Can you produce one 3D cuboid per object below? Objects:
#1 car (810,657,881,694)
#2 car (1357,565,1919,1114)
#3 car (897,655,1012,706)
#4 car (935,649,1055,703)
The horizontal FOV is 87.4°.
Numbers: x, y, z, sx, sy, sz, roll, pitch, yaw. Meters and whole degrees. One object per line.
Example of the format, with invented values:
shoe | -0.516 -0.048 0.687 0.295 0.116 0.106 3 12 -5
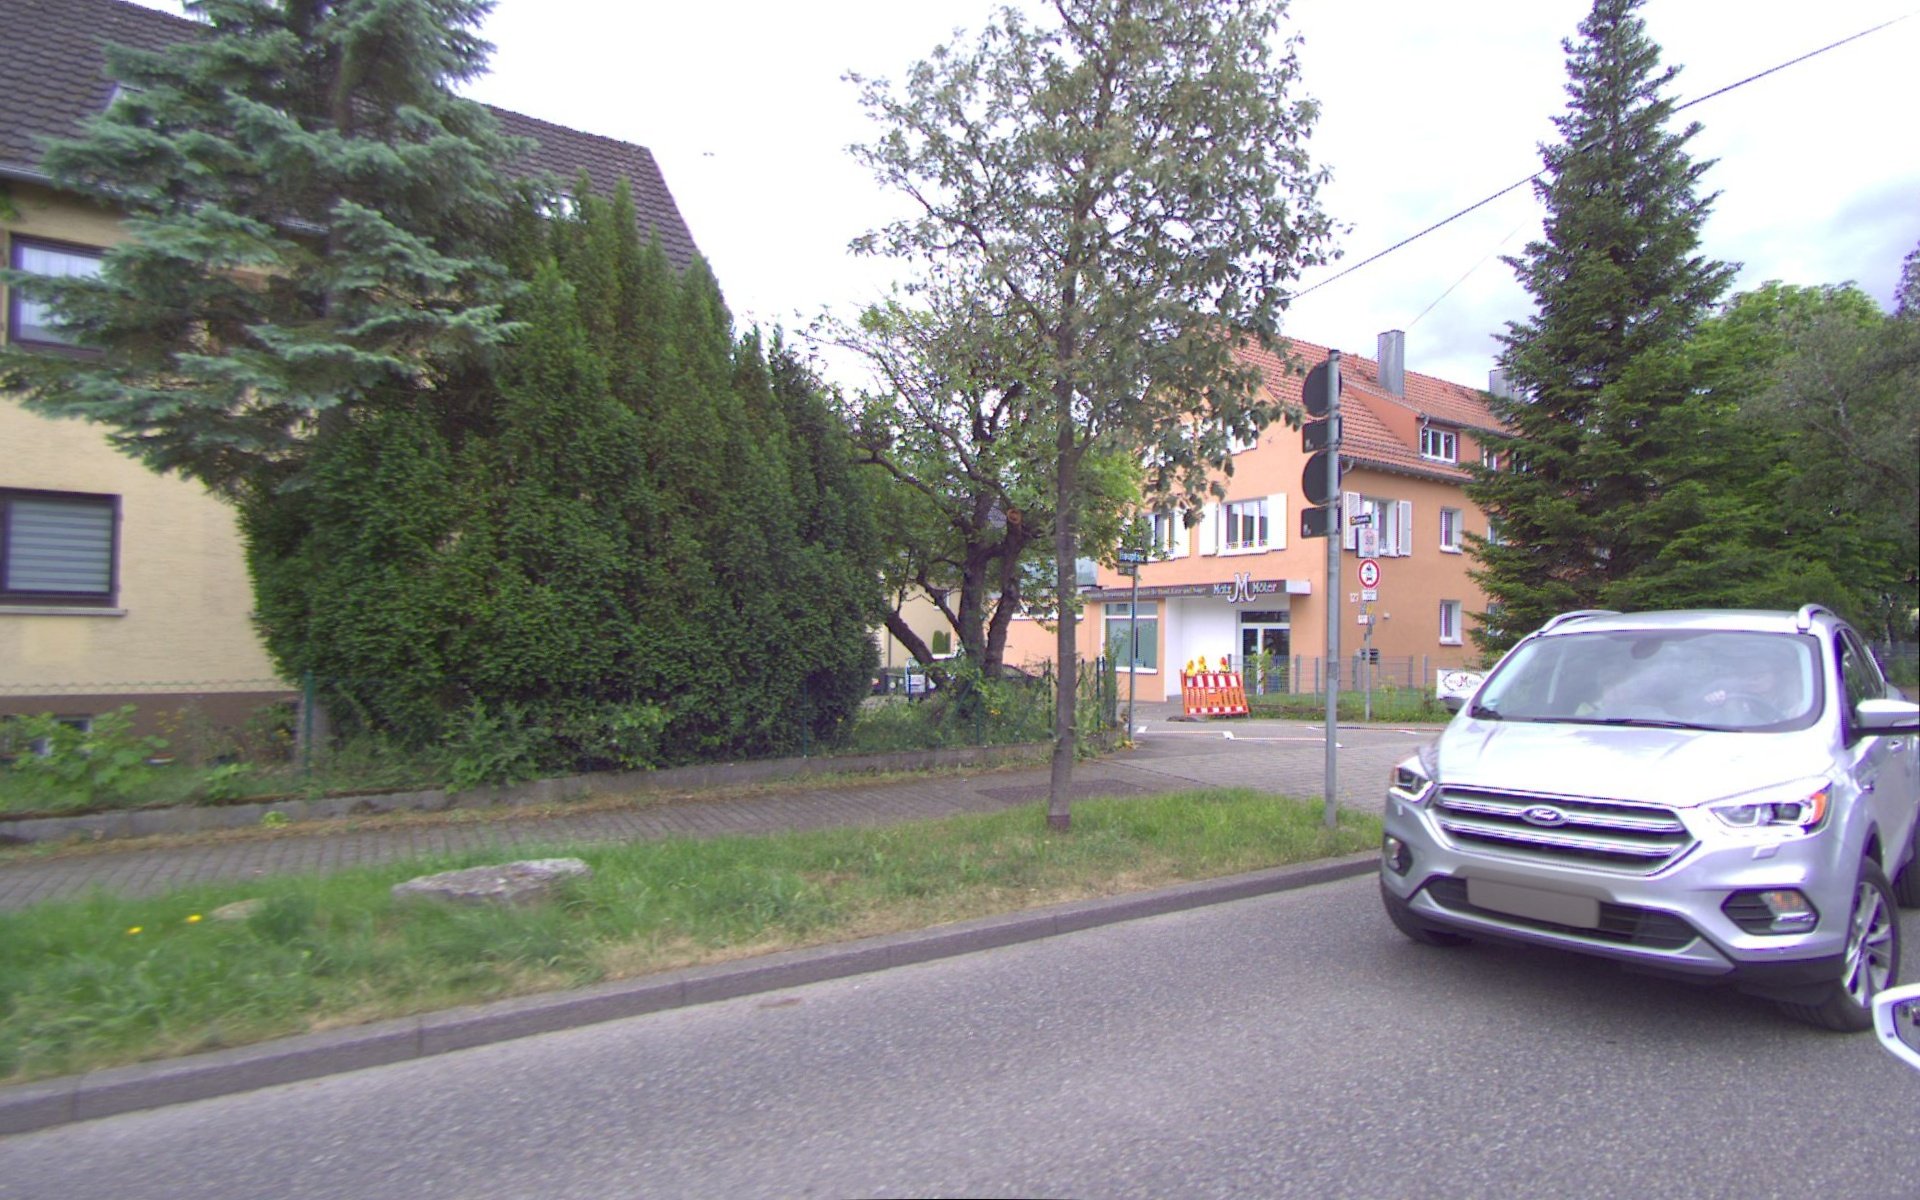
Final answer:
car | -5.681 3.662 49.472 1.873 1.639 3.963 1 -2 -34
car | 3.819 0.830 5.244 4.073 1.728 1.725 2 -3 -44
car | -0.188 2.999 37.990 4.016 1.784 1.810 1 -4 -33
car | 1.283 2.693 36.040 3.957 1.784 1.847 1 -4 -33
